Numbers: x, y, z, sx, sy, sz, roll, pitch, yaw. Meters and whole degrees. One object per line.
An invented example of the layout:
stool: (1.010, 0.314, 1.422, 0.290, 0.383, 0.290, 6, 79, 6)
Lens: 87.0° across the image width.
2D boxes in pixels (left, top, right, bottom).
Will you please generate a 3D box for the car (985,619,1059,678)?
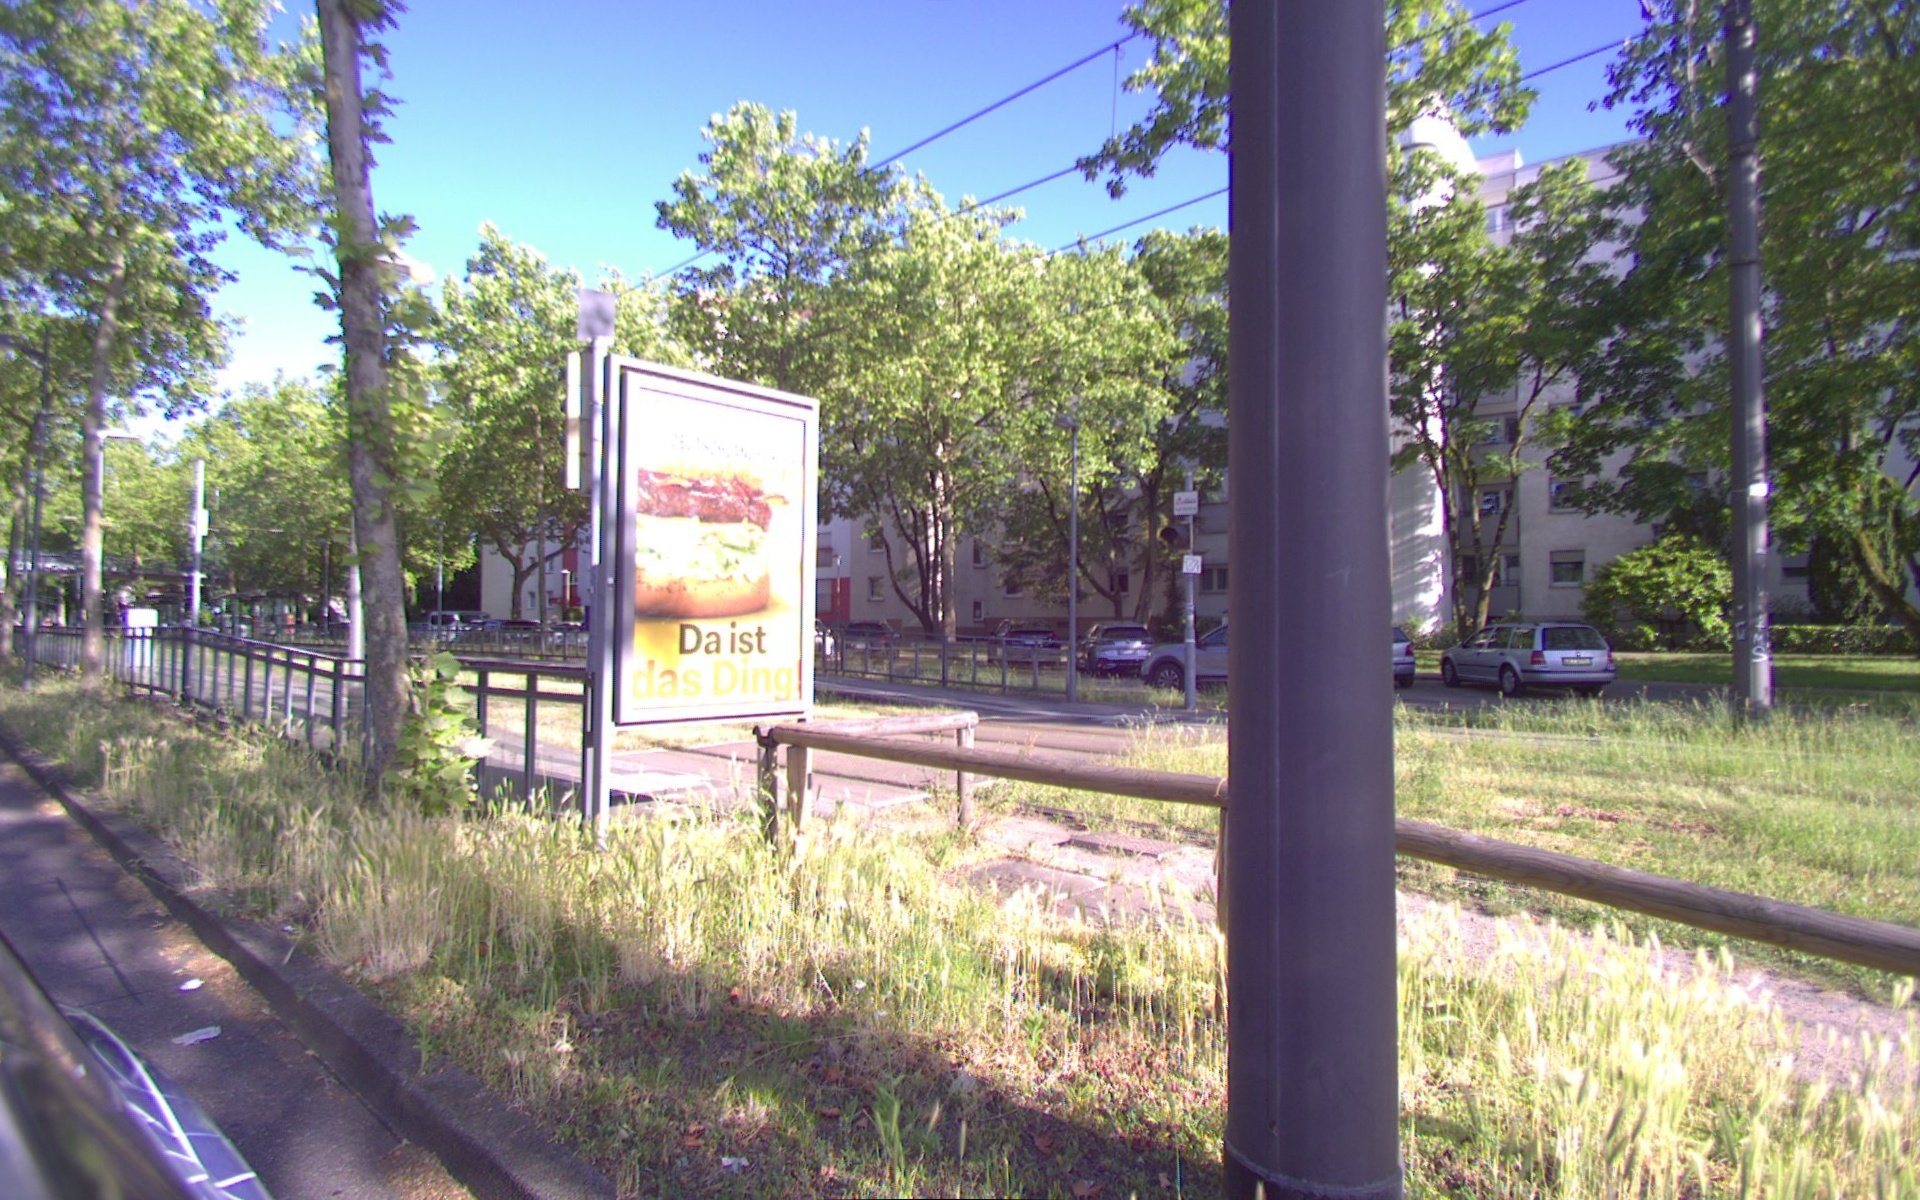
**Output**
car: (1.749, 1.366, 29.811, 1.669, 1.499, 4.003, -1, 0, -4)

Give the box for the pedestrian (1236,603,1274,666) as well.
pedestrian: (8.427, 0.980, 28.906, 0.755, 1.770, 0.752, -1, -2, 41)

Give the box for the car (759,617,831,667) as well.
car: (-5.994, 1.492, 37.209, 1.791, 1.607, 3.997, -1, 0, 3)

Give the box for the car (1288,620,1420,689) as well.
car: (9.074, 1.207, 23.615, 1.553, 1.431, 3.620, -1, -1, -1)

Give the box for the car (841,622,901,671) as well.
car: (-3.004, 1.549, 34.659, 1.538, 1.439, 3.761, -1, 0, 3)

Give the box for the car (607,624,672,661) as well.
car: (-14.028, 1.847, 44.475, 1.470, 1.425, 3.880, -1, 0, 3)

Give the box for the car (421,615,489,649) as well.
car: (-28.411, 1.785, 57.120, 1.843, 1.826, 4.047, 0, -1, 0)

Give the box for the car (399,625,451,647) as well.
car: (-33.050, 2.193, 62.597, 1.459, 1.311, 3.488, 0, -1, -1)

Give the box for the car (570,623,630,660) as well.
car: (-16.668, 1.894, 47.006, 1.445, 1.519, 3.393, -1, 0, 3)

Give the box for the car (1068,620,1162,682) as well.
car: (4.158, 1.332, 27.690, 1.650, 1.469, 4.004, -1, 0, -4)

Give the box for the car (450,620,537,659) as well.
car: (-19.222, 1.611, 41.666, 4.100, 1.523, 1.746, -1, -2, 41)

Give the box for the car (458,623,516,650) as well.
car: (-25.862, 1.985, 55.390, 1.605, 1.414, 3.488, 0, -1, -1)

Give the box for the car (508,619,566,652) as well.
car: (-21.409, 1.763, 51.345, 1.539, 1.436, 3.489, -3, 0, -2)

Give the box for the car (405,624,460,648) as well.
car: (-30.933, 2.096, 59.413, 1.459, 1.354, 3.488, 0, -1, -1)

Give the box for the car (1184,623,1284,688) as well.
car: (6.745, 1.322, 25.310, 1.572, 1.360, 3.922, -1, 0, 3)

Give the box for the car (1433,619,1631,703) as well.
car: (11.502, 1.161, 20.692, 1.685, 1.454, 3.978, -1, 0, -2)

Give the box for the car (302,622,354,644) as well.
car: (-45.406, 2.364, 72.752, 1.578, 1.538, 3.737, 0, -1, -3)

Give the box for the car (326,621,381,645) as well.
car: (-40.785, 2.218, 68.191, 1.578, 1.582, 3.830, 0, -1, -3)

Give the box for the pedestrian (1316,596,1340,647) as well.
pedestrian: (12.933, 0.756, 35.562, 0.634, 1.770, 0.516, -1, -2, 39)

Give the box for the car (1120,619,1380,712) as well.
car: (5.302, 1.135, 18.894, 4.331, 1.534, 1.786, -1, -2, 44)

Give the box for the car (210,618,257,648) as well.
car: (-50.307, 2.248, 70.060, 4.652, 2.007, 1.772, -1, -2, 43)

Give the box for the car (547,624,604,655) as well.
car: (-18.754, 1.898, 49.481, 1.459, 1.339, 3.488, -2, 0, -1)

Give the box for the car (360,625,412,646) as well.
car: (-37.474, 2.293, 66.119, 1.459, 1.330, 3.488, 0, -1, -1)
